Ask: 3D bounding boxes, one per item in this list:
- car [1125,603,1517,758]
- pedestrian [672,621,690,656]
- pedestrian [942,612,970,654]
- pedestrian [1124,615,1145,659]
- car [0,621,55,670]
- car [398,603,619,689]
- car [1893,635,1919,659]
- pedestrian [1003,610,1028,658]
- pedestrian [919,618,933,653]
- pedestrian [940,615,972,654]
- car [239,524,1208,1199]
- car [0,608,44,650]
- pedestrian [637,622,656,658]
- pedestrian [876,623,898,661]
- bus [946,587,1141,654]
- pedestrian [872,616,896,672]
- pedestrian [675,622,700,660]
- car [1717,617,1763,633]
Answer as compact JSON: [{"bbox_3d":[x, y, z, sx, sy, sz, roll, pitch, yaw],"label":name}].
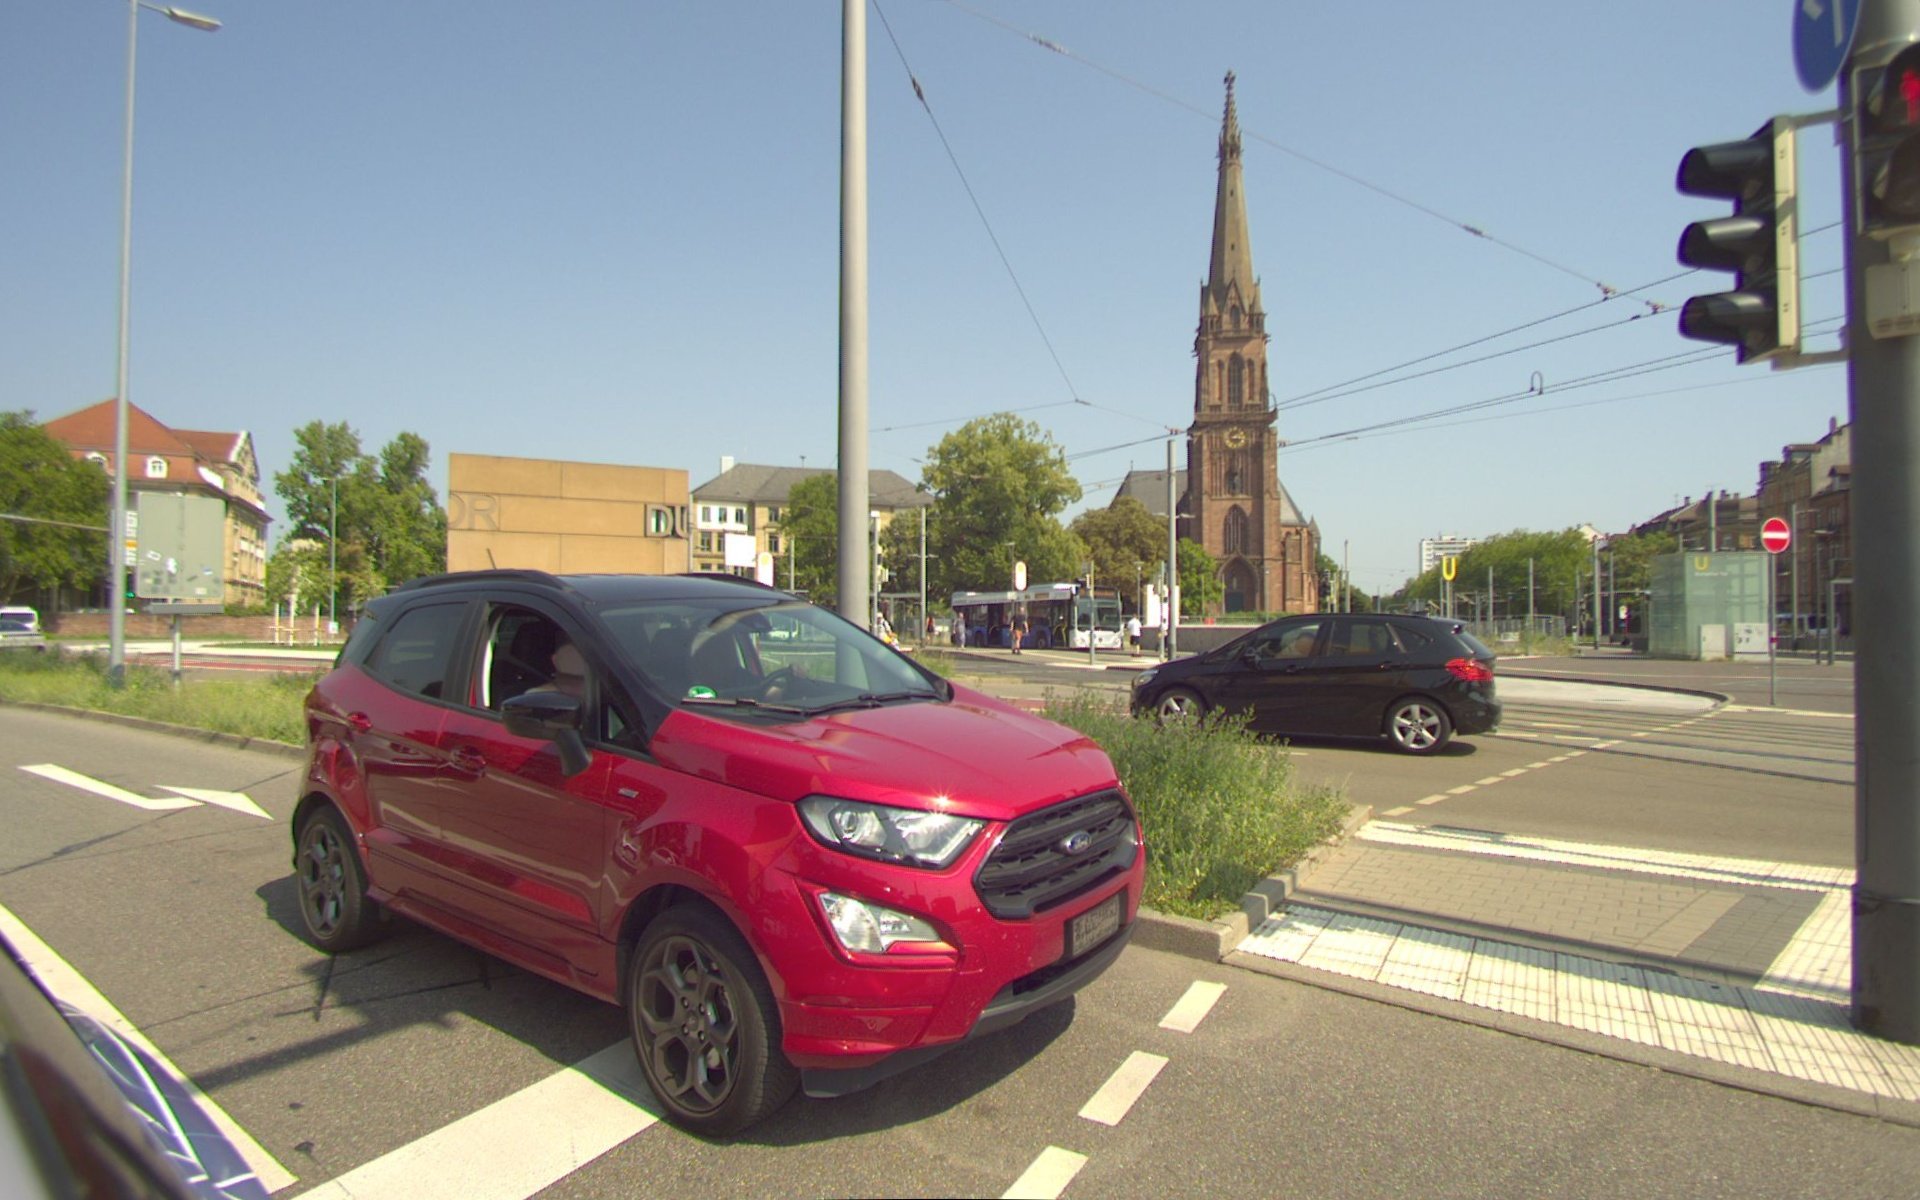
[{"bbox_3d":[4.270,0.870,12.153,4.193,1.572,1.721,-1,-2,31],"label":"car"},{"bbox_3d":[-11.979,1.641,43.486,0.540,1.508,0.533,-1,-2,34],"label":"pedestrian"},{"bbox_3d":[-0.177,1.460,44.559,0.913,1.837,0.940,1,-2,-26],"label":"pedestrian"},{"bbox_3d":[7.372,1.566,42.779,0.592,1.825,0.640,-1,0,-37],"label":"pedestrian"},{"bbox_3d":[-33.085,1.512,34.162,4.685,1.597,1.984,-1,-2,23],"label":"car"},{"bbox_3d":[-9.327,0.915,20.863,4.521,1.612,1.755,-1,-2,28],"label":"car"},{"bbox_3d":[59.217,2.855,61.468,1.760,1.426,4.742,-1,-2,17],"label":"car"},{"bbox_3d":[2.146,1.312,39.298,0.792,1.837,0.535,1,-2,-26],"label":"pedestrian"},{"bbox_3d":[-1.807,1.892,53.610,0.631,1.825,0.600,-1,0,11],"label":"pedestrian"},{"bbox_3d":[-0.189,1.502,44.606,1.060,1.709,1.068,1,-2,-26],"label":"pedestrian"},{"bbox_3d":[-1.167,0.660,4.036,3.837,1.598,1.675,-1,0,36],"label":"car"},{"bbox_3d":[-43.802,1.304,46.044,3.896,1.868,1.852,0,-2,27],"label":"car"},{"bbox_3d":[-13.423,1.703,43.332,0.540,1.508,0.533,-1,-2,34],"label":"pedestrian"},{"bbox_3d":[-2.256,1.302,31.316,0.592,1.134,0.640,-1,0,-12],"label":"pedestrian"},{"bbox_3d":[3.455,1.019,47.667,3.346,2.733,12.383,1,-2,-25],"label":"bus"},{"bbox_3d":[-2.405,1.382,31.859,0.681,1.724,0.537,0,-2,-12],"label":"pedestrian"},{"bbox_3d":[-10.963,1.640,40.680,0.605,1.508,0.762,-1,-2,34],"label":"pedestrian"},{"bbox_3d":[71.900,2.336,93.341,1.760,1.426,4.742,-1,-2,17],"label":"car"}]
